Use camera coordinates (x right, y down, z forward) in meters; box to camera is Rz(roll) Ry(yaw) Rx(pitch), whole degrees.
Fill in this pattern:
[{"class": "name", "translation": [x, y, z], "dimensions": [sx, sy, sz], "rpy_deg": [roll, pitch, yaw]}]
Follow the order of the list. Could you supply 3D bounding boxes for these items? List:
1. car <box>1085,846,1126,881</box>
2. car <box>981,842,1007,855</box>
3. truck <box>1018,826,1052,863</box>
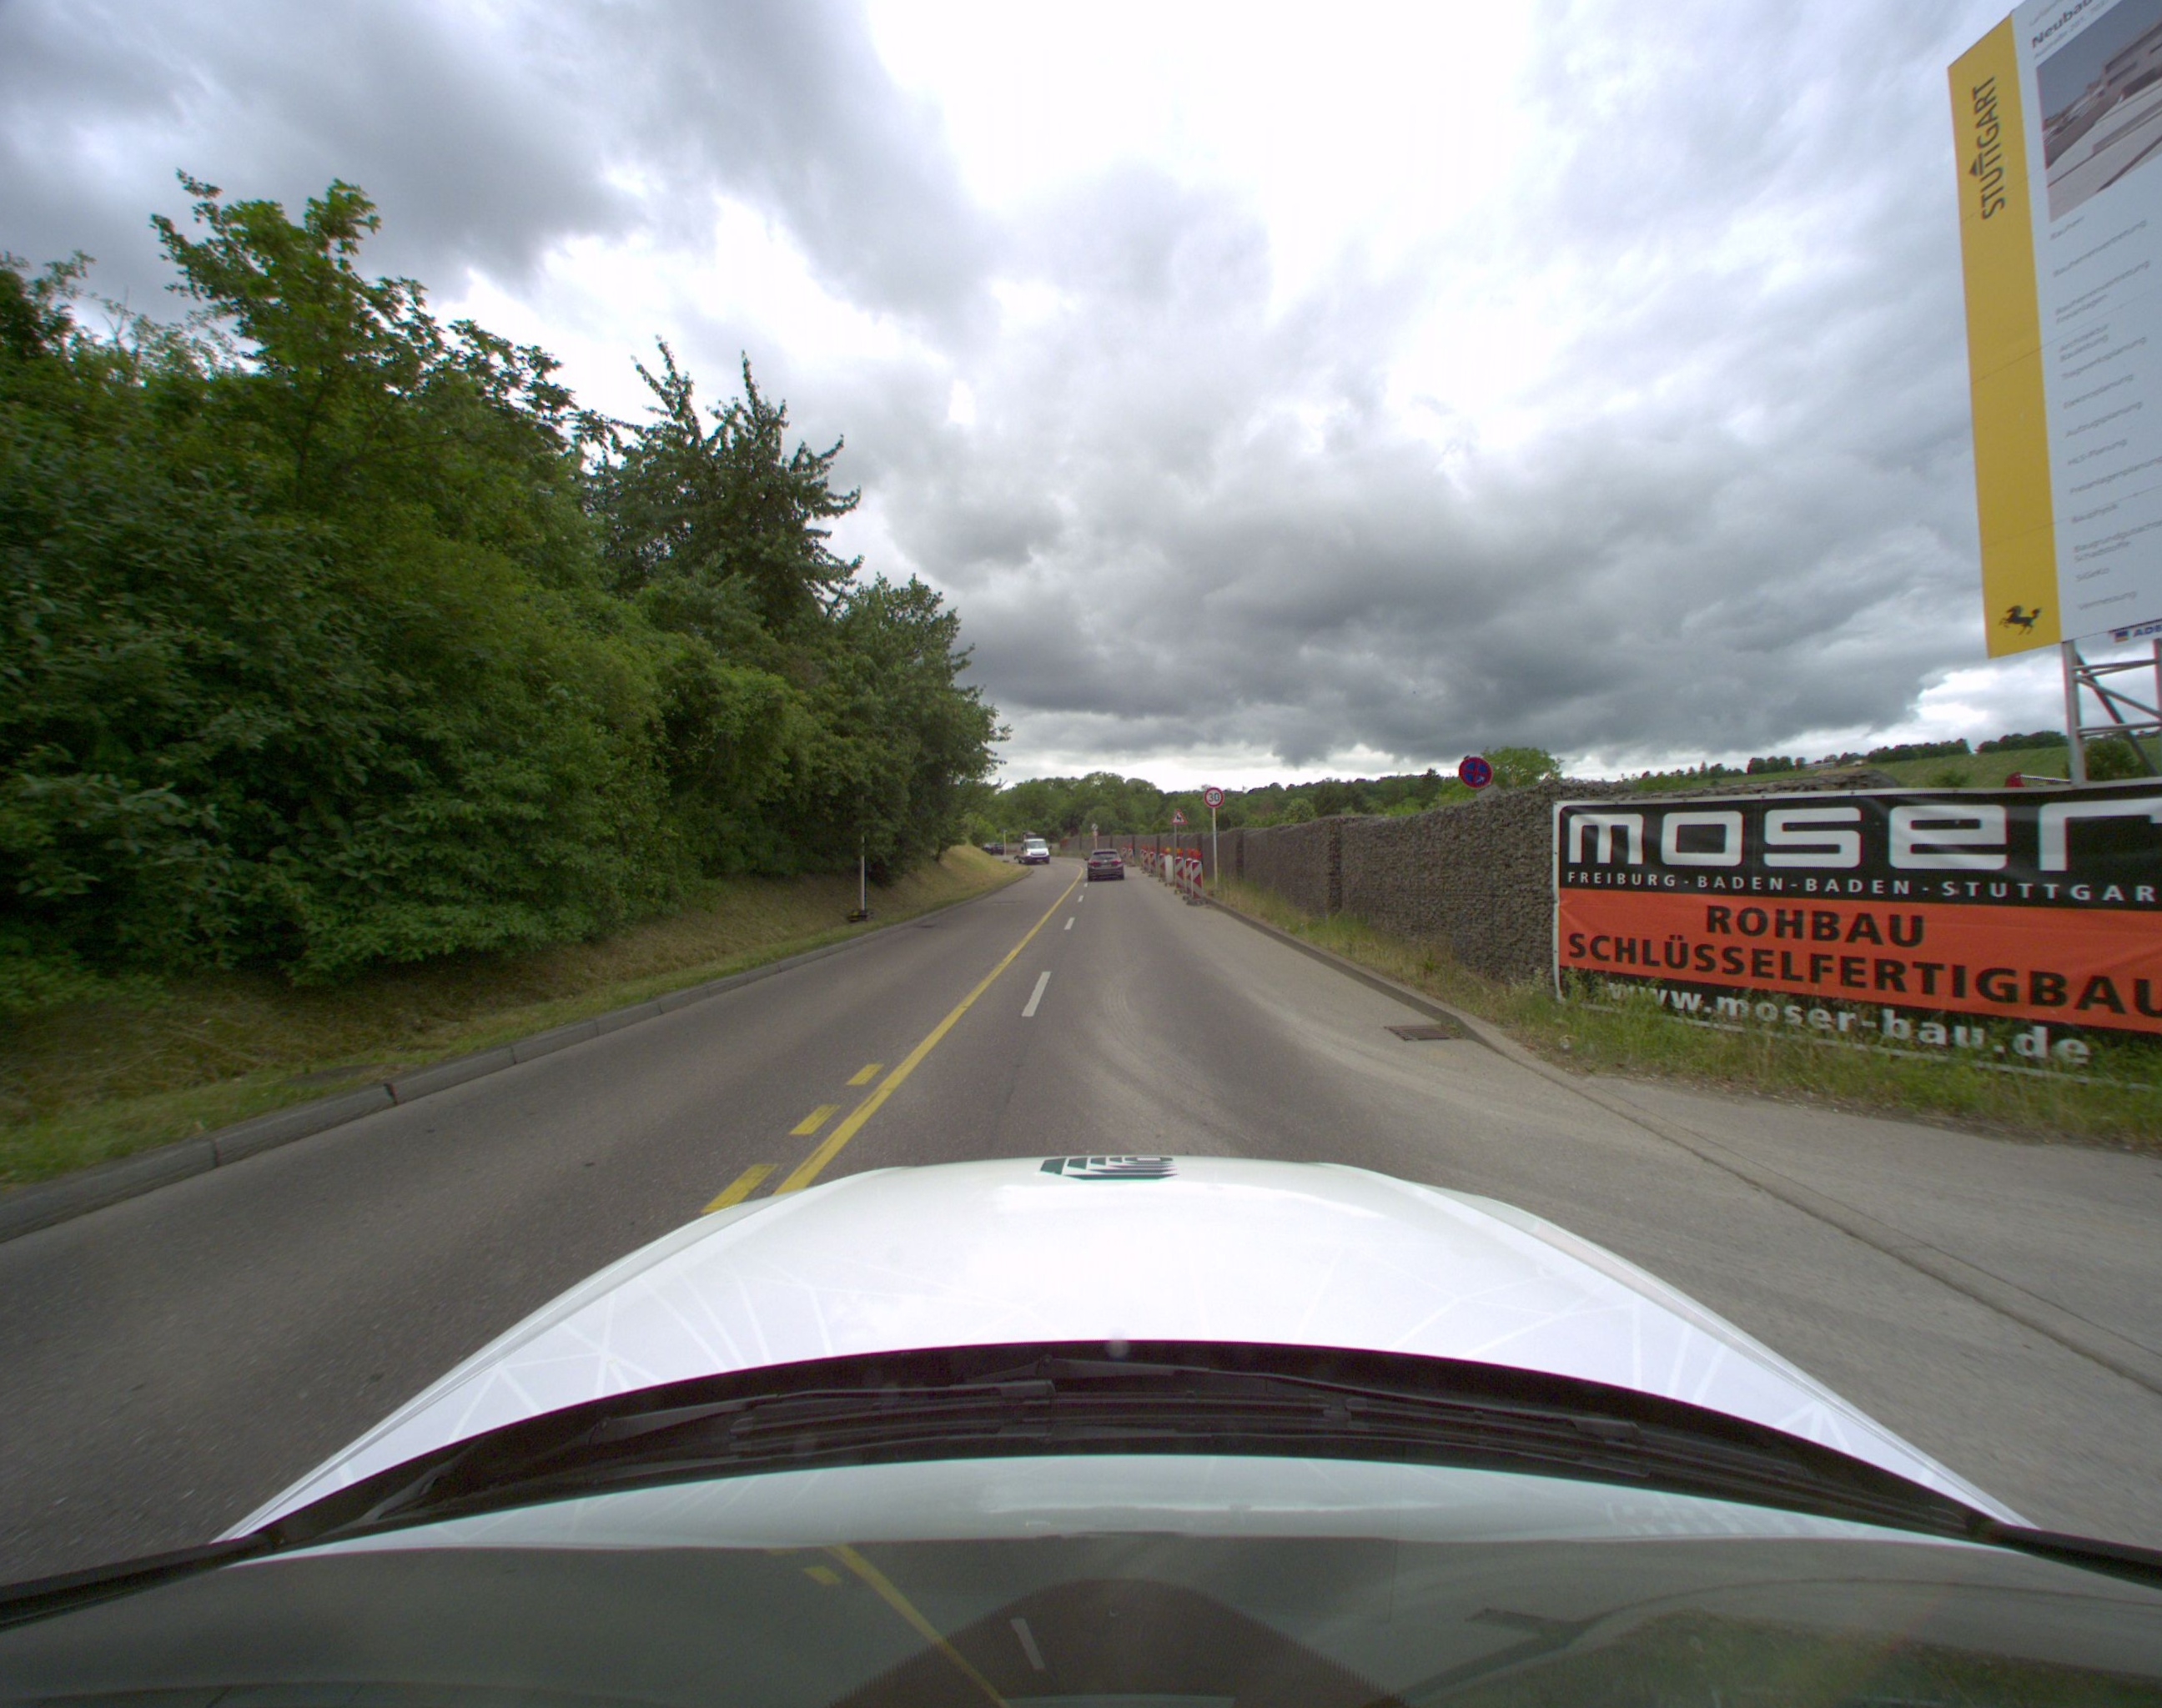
[{"class": "car", "translation": [1.171, 0.451, 40.556], "dimensions": [1.834, 1.483, 3.999], "rpy_deg": [-3, 2, -1]}, {"class": "car", "translation": [-10.432, -0.659, 97.672], "dimensions": [1.790, 1.453, 3.821], "rpy_deg": [2, -2, -30]}, {"class": "truck", "translation": [-4.113, -0.858, 71.971], "dimensions": [2.214, 3.014, 7.717], "rpy_deg": [-2, 1, -8]}]
